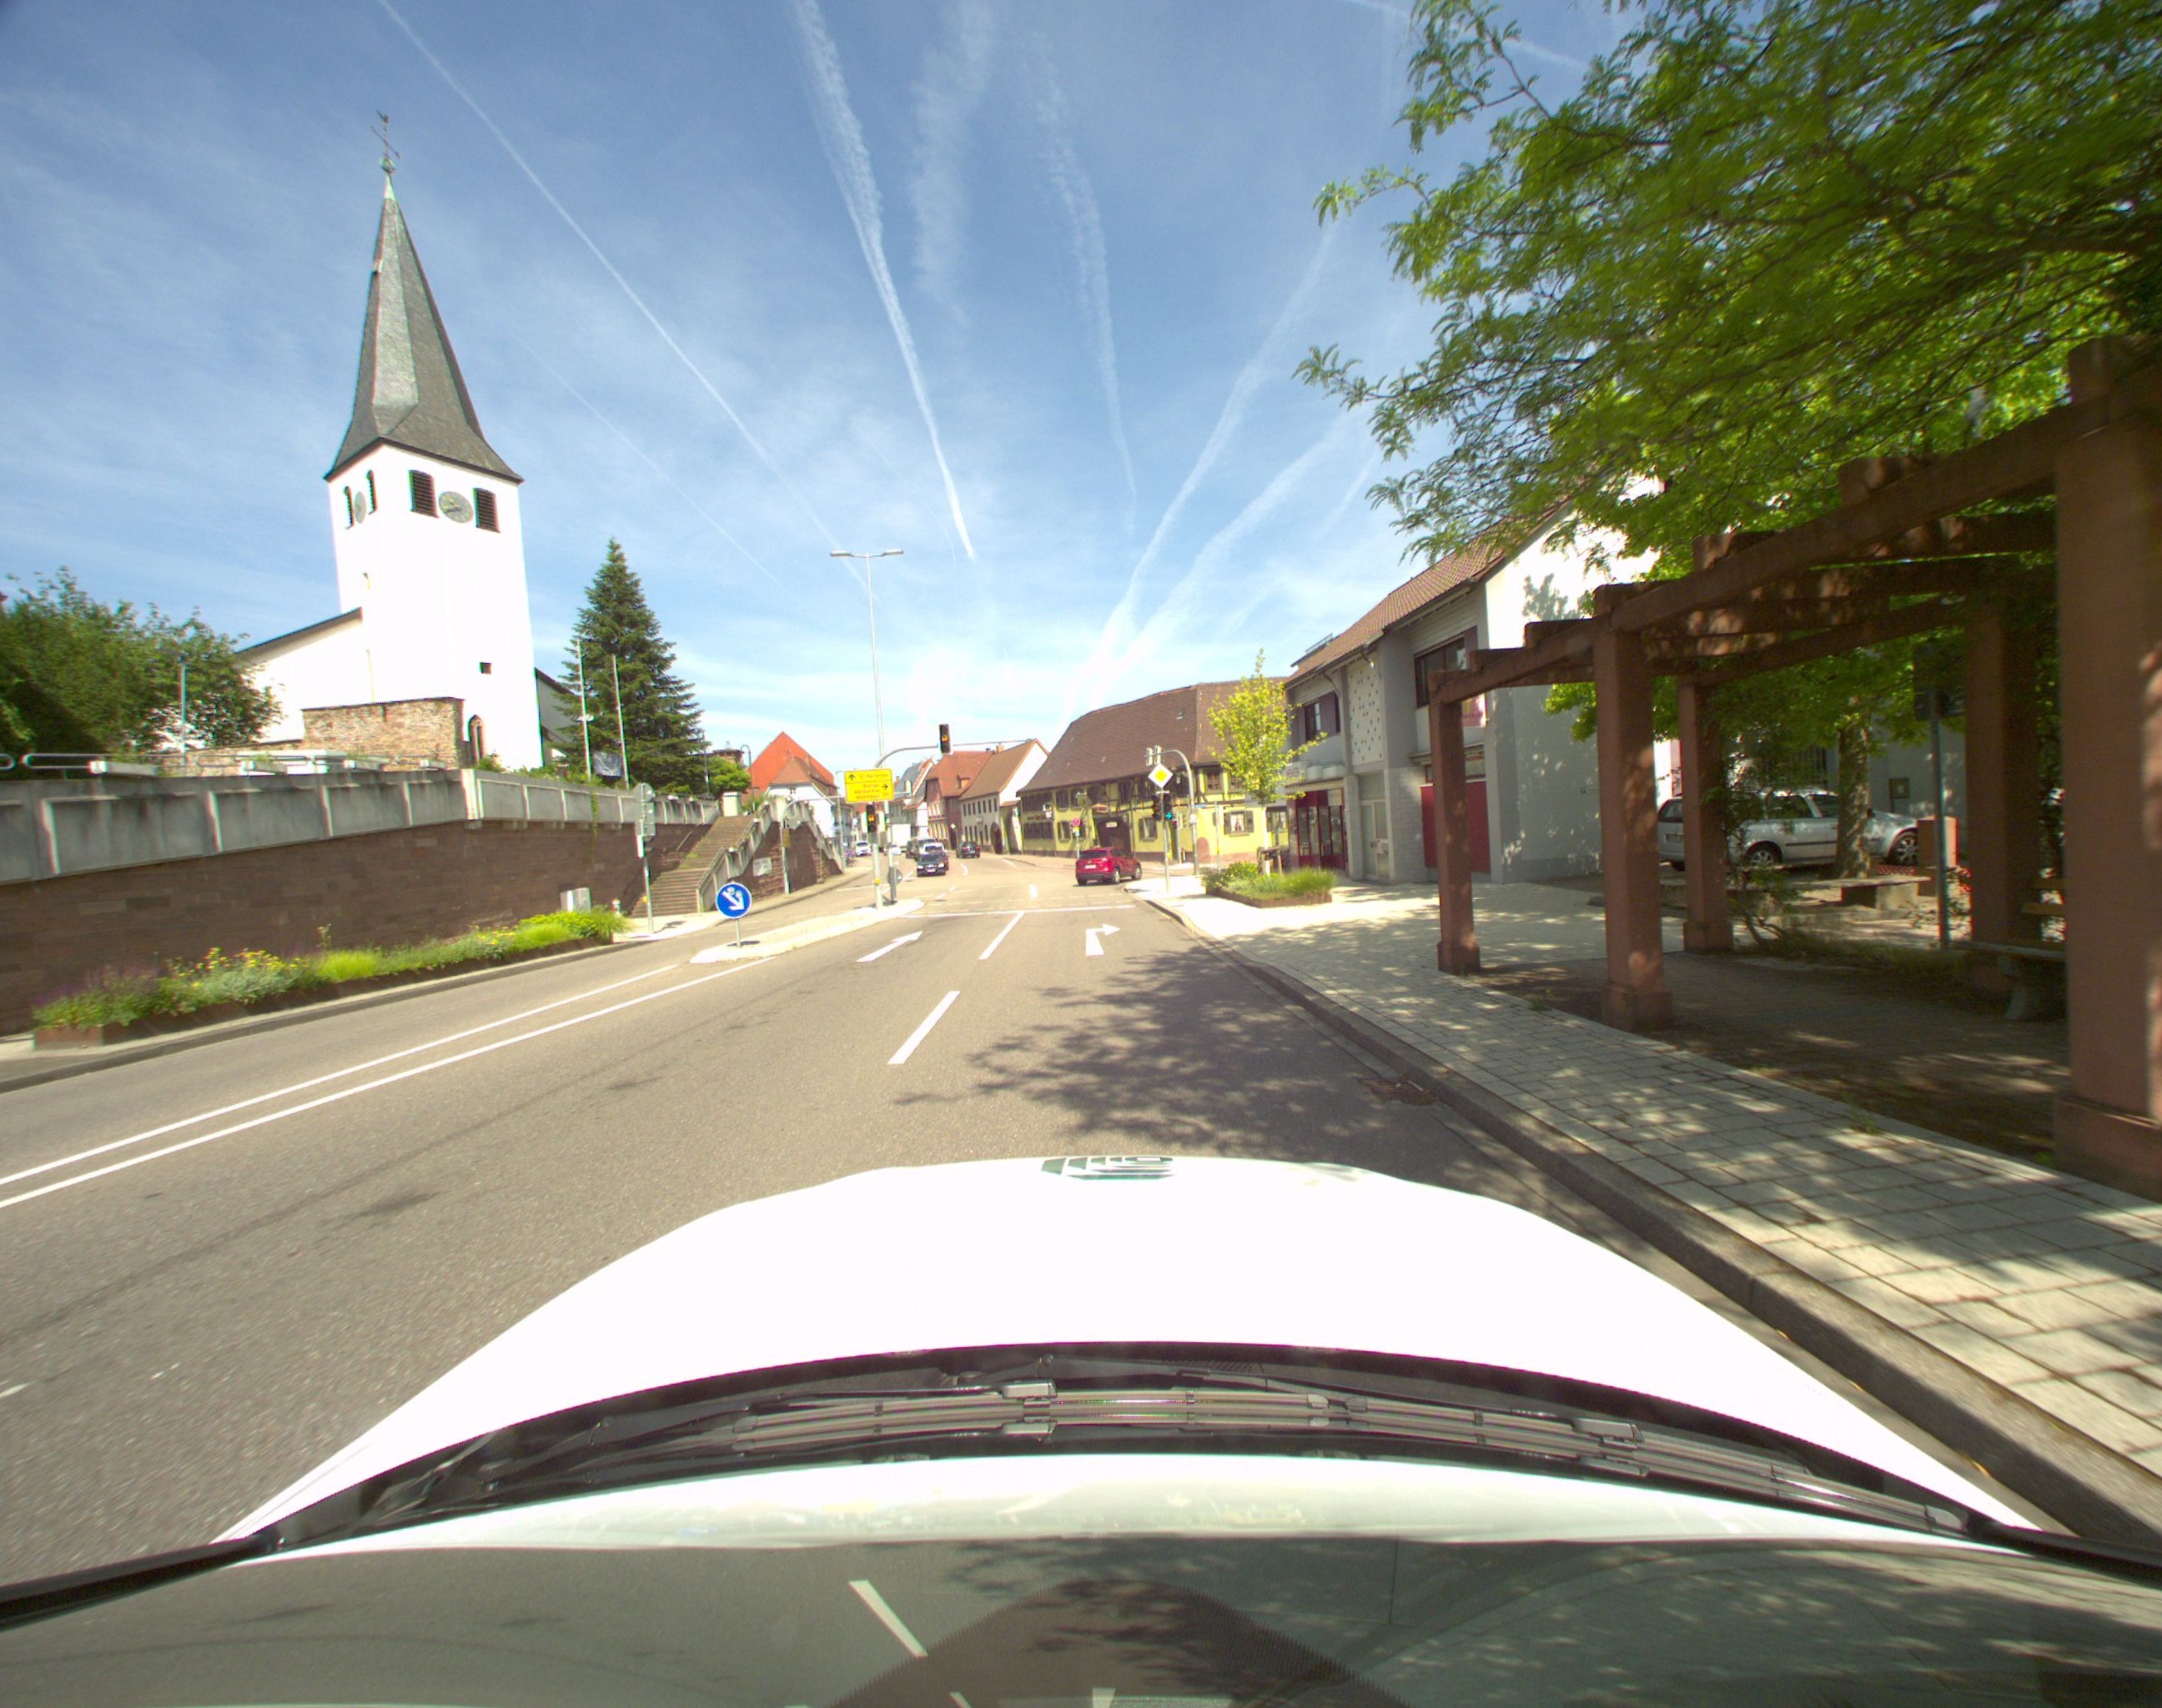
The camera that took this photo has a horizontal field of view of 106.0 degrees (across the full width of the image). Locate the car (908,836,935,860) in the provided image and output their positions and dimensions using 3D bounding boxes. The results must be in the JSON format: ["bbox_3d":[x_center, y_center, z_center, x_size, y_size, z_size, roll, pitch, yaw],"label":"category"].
[{"bbox_3d":[-16.088,-0.630,81.915,1.765,2.245,4.519,-2,1,-22],"label":"car"}]

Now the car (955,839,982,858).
[{"bbox_3d":[-11.083,-0.545,80.098,1.827,1.738,3.979,-5,2,-20],"label":"car"}]

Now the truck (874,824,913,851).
[{"bbox_3d":[-26.659,-2.321,115.398,3.241,3.549,9.149,-2,1,-27],"label":"truck"}]

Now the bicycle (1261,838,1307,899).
[{"bbox_3d":[4.634,0.301,18.700,0.527,1.279,1.993,-7,1,3],"label":"bicycle"}]

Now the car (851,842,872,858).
[{"bbox_3d":[-29.497,-0.531,109.249,2.144,1.966,5.243,-5,2,-20],"label":"car"}]

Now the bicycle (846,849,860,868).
[{"bbox_3d":[-20.838,0.387,74.550,0.556,1.607,2.562,-1,1,0],"label":"bicycle"}]

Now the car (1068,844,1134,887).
[{"bbox_3d":[0.971,0.486,37.026,1.789,1.663,3.832,-3,1,20],"label":"car"}]

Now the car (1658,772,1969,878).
[{"bbox_3d":[12.164,-0.470,13.702,3.686,1.510,1.724,-3,0,-1],"label":"car"}]

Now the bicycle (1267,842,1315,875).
[{"bbox_3d":[8.751,0.165,33.942,1.798,1.234,0.549,-4,1,-1],"label":"bicycle"}]

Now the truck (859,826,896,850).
[{"bbox_3d":[-31.194,-2.382,124.208,3.177,3.460,10.618,-2,1,-27],"label":"truck"}]

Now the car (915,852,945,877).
[{"bbox_3d":[-10.145,0.676,54.834,1.821,1.434,4.234,-4,2,-10],"label":"car"}]

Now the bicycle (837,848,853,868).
[{"bbox_3d":[-21.925,0.382,75.719,0.639,1.779,2.670,-1,1,0],"label":"bicycle"}]

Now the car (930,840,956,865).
[{"bbox_3d":[-11.838,-0.168,69.654,1.822,1.906,4.944,-4,2,-12],"label":"car"}]

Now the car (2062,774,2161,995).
[{"bbox_3d":[9.800,0.037,5.512,4.472,1.544,1.723,-5,0,-4],"label":"car"}]

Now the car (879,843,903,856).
[{"bbox_3d":[-23.962,-0.593,102.573,1.796,1.526,3.969,-5,2,-28],"label":"car"}]
